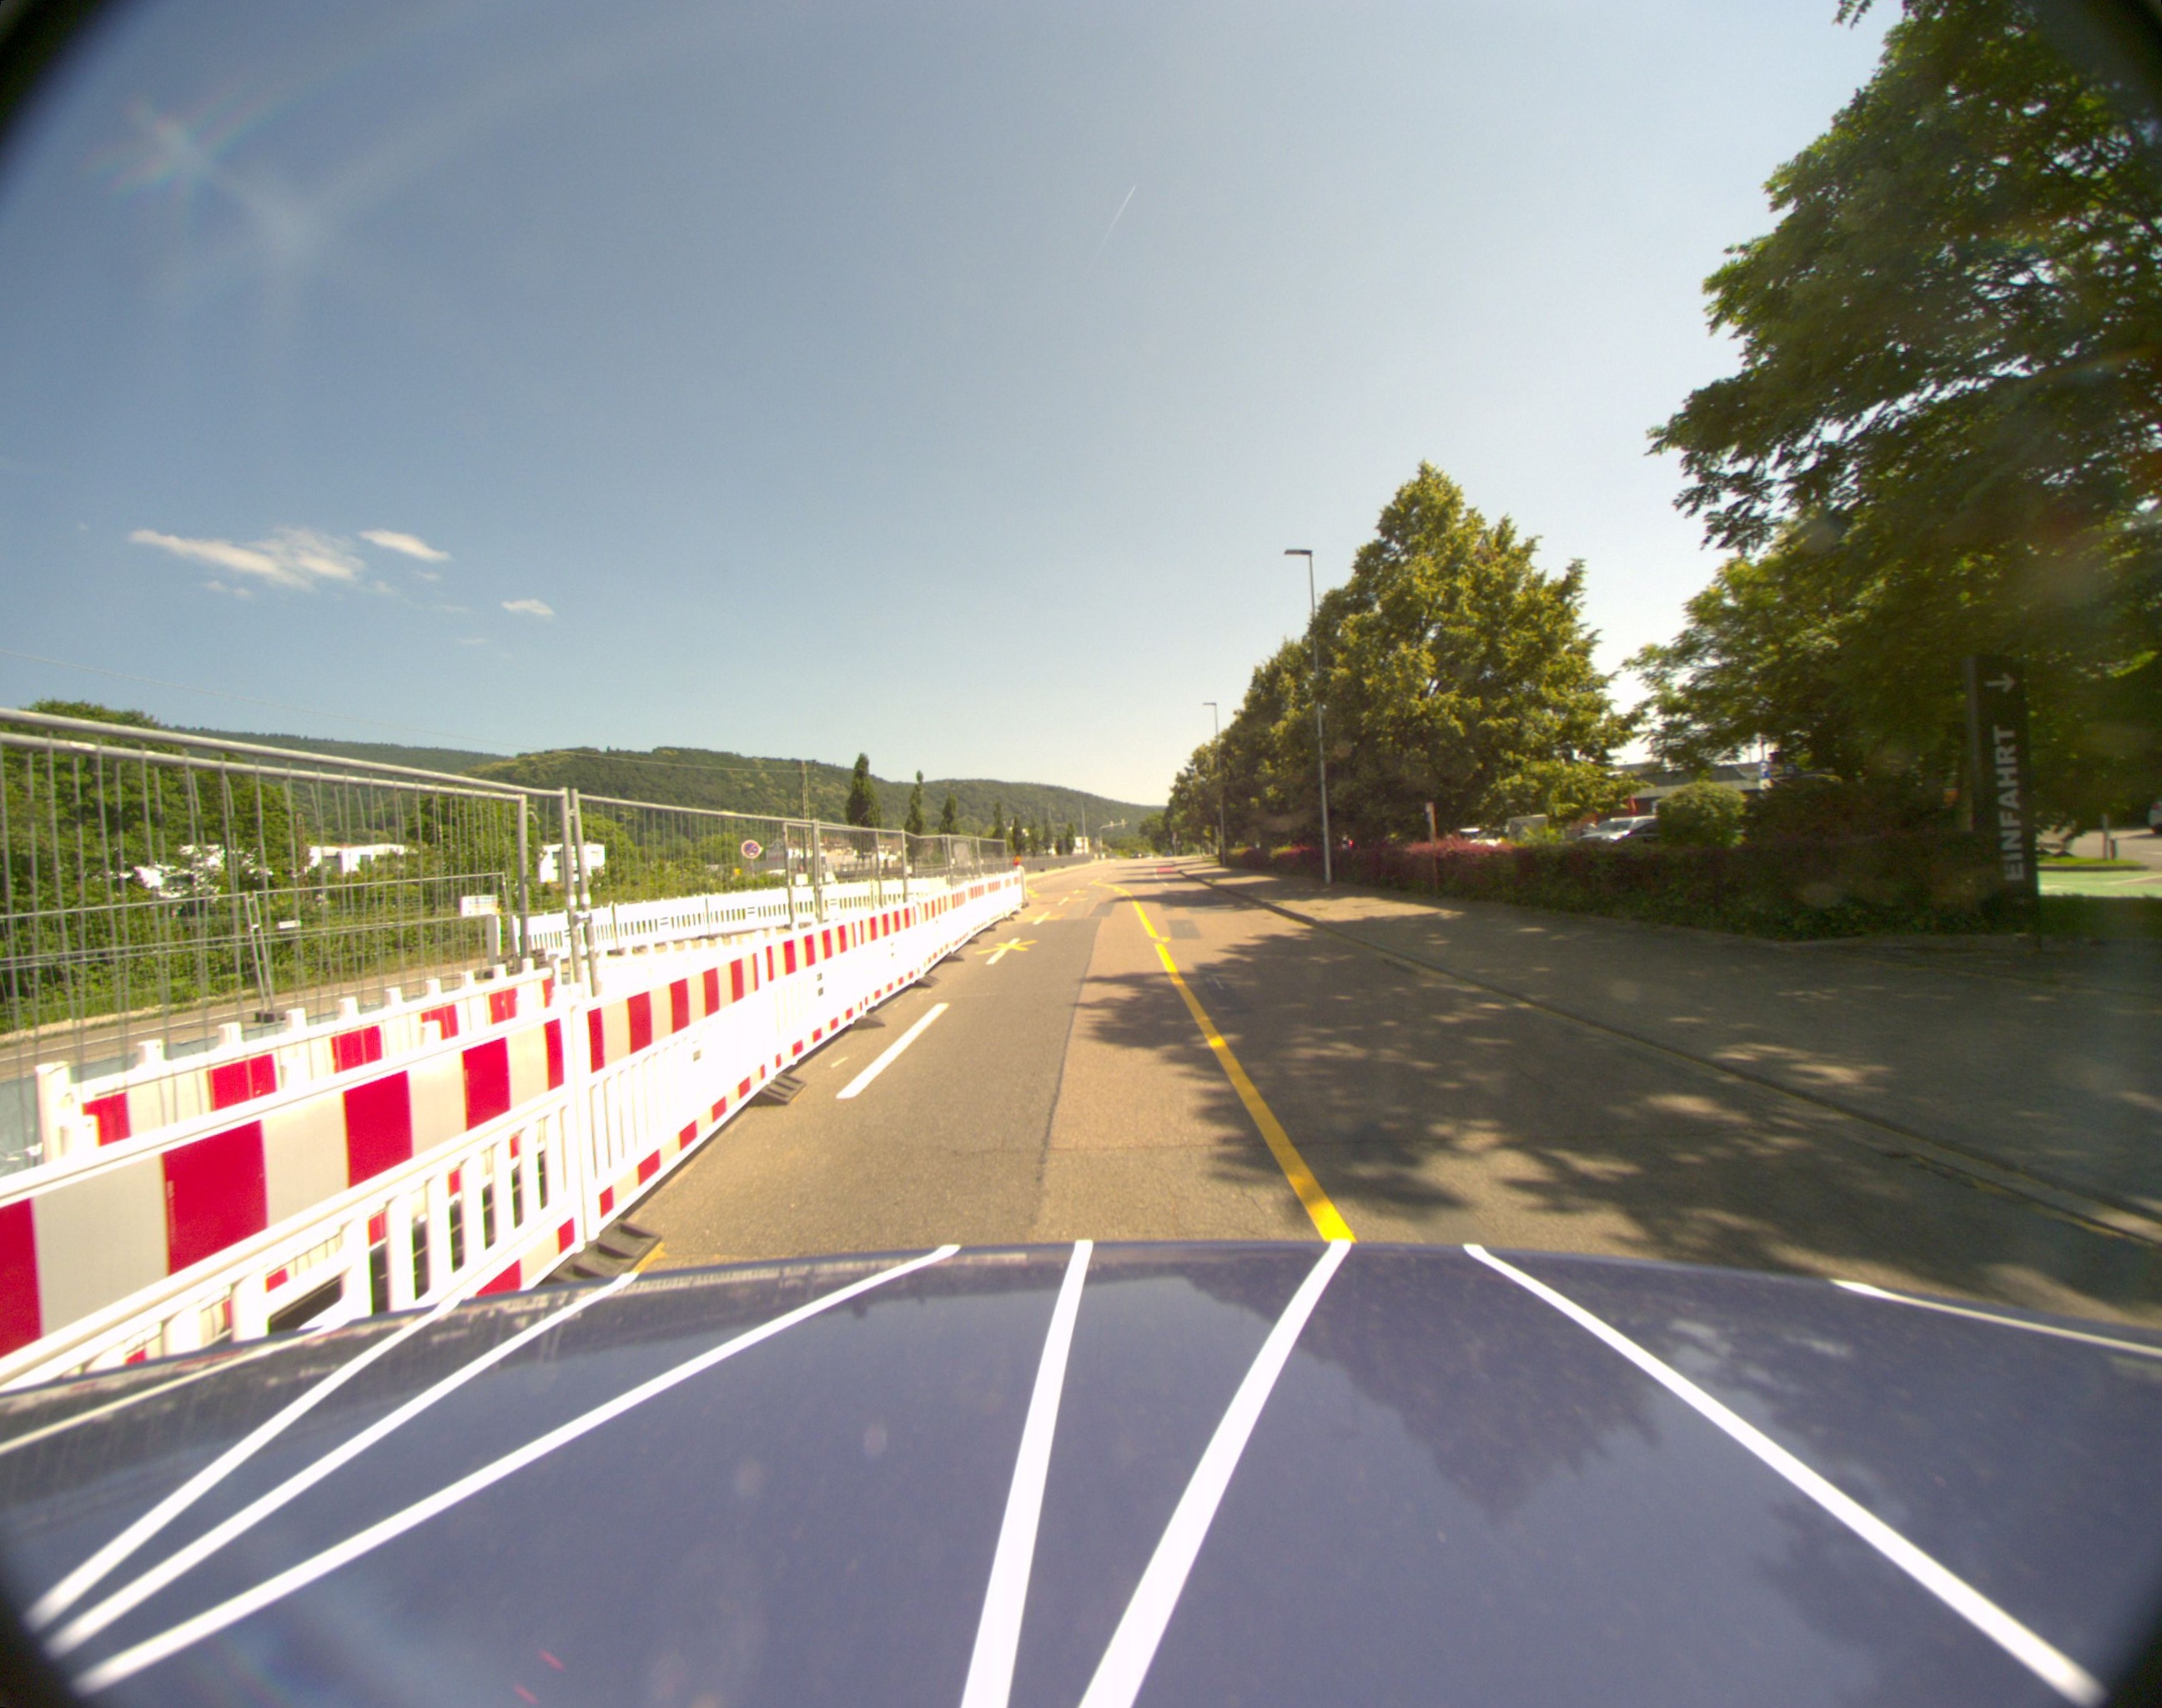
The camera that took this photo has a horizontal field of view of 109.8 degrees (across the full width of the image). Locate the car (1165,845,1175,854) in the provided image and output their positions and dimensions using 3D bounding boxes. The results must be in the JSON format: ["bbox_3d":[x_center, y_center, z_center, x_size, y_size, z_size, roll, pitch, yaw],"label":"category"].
[{"bbox_3d":[17.062,-0.866,146.086,1.609,1.527,3.683,-3,1,4],"label":"car"}]

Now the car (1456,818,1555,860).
[{"bbox_3d":[21.684,-0.770,38.820,4.355,1.816,1.747,-4,0,-15],"label":"car"}]

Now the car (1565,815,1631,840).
[{"bbox_3d":[39.230,-2.018,57.691,3.989,1.584,1.931,-3,1,38],"label":"car"}]

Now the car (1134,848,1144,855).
[{"bbox_3d":[10.605,-0.481,139.333,1.609,1.248,3.683,-3,1,4],"label":"car"}]

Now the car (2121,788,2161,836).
[{"bbox_3d":[35.576,-1.447,23.892,4.048,1.442,1.793,-4,1,-11],"label":"car"}]

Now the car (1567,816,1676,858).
[{"bbox_3d":[24.334,-0.771,34.242,3.812,1.574,1.903,-4,1,-13],"label":"car"}]

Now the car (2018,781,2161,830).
[{"bbox_3d":[39.577,-1.876,29.801,3.869,1.567,1.818,-4,1,-9],"label":"car"}]

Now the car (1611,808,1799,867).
[{"bbox_3d":[19.592,-0.512,24.226,2.072,1.551,5.031,-3,1,4],"label":"car"}]

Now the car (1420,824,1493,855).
[{"bbox_3d":[24.738,-0.952,50.218,1.761,1.788,4.222,-4,1,-18],"label":"car"}]
